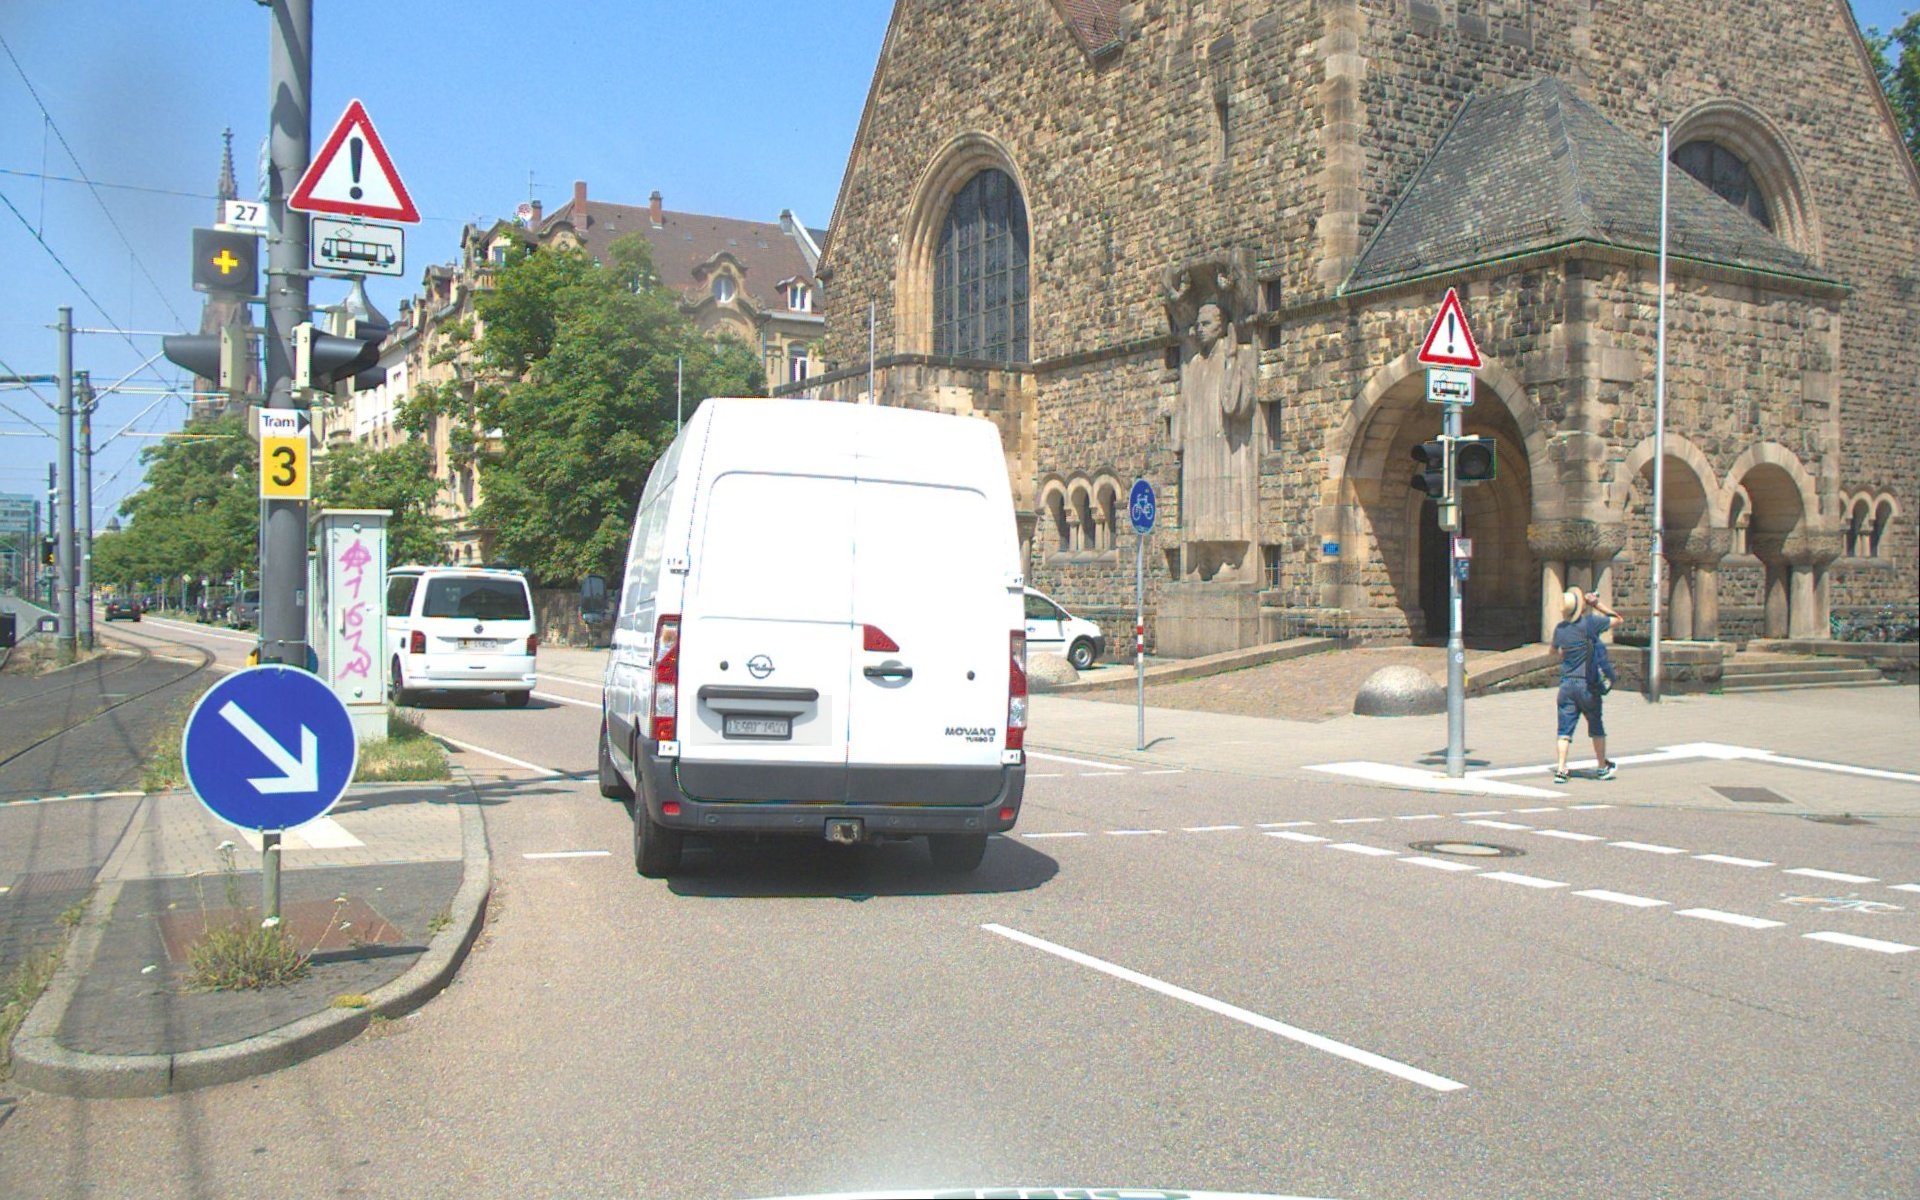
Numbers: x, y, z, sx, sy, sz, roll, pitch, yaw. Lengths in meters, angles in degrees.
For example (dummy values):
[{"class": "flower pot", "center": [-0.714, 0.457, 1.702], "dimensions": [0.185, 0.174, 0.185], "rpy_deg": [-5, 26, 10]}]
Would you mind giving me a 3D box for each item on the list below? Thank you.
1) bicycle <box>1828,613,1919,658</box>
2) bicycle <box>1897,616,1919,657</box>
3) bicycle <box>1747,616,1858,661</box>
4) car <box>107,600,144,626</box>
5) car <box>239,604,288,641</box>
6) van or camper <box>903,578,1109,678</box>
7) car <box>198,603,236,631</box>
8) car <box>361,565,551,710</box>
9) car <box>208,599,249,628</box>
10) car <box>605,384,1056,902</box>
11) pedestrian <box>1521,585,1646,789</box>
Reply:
[{"class": "bicycle", "center": [22.606, 0.855, 40.474], "dimensions": [0.696, 1.029, 2.475], "rpy_deg": [0, 0, -28]}, {"class": "bicycle", "center": [24.707, 0.920, 41.135], "dimensions": [0.696, 1.029, 2.475], "rpy_deg": [0, 0, -28]}, {"class": "bicycle", "center": [20.508, 0.914, 40.325], "dimensions": [0.696, 1.029, 2.475], "rpy_deg": [0, 0, -28]}, {"class": "car", "center": [-52.080, 0.812, 103.192], "dimensions": [1.733, 1.566, 3.718], "rpy_deg": [2, -1, -32]}, {"class": "car", "center": [-34.189, 1.087, 81.162], "dimensions": [1.732, 1.736, 3.720], "rpy_deg": [1, -1, -30]}, {"class": "van or camper", "center": [0.961, 0.521, 34.109], "dimensions": [3.949, 1.857, 1.784], "rpy_deg": [-1, 3, -32]}, {"class": "car", "center": [-45.600, 1.034, 101.464], "dimensions": [1.732, 1.606, 3.720], "rpy_deg": [1, -1, -30]}, {"class": "car", "center": [-7.652, 0.535, 24.842], "dimensions": [1.895, 1.978, 4.223], "rpy_deg": [1, -1, -29]}, {"class": "car", "center": [-42.308, 0.759, 95.653], "dimensions": [1.732, 1.606, 3.720], "rpy_deg": [1, -1, -30]}, {"class": "car", "center": [-1.133, 0.243, 10.706], "dimensions": [2.081, 2.502, 5.035], "rpy_deg": [1, -1, -14]}, {"class": "pedestrian", "center": [5.885, 0.802, 15.631], "dimensions": [0.732, 1.854, 0.827], "rpy_deg": [1, -1, -23]}]
